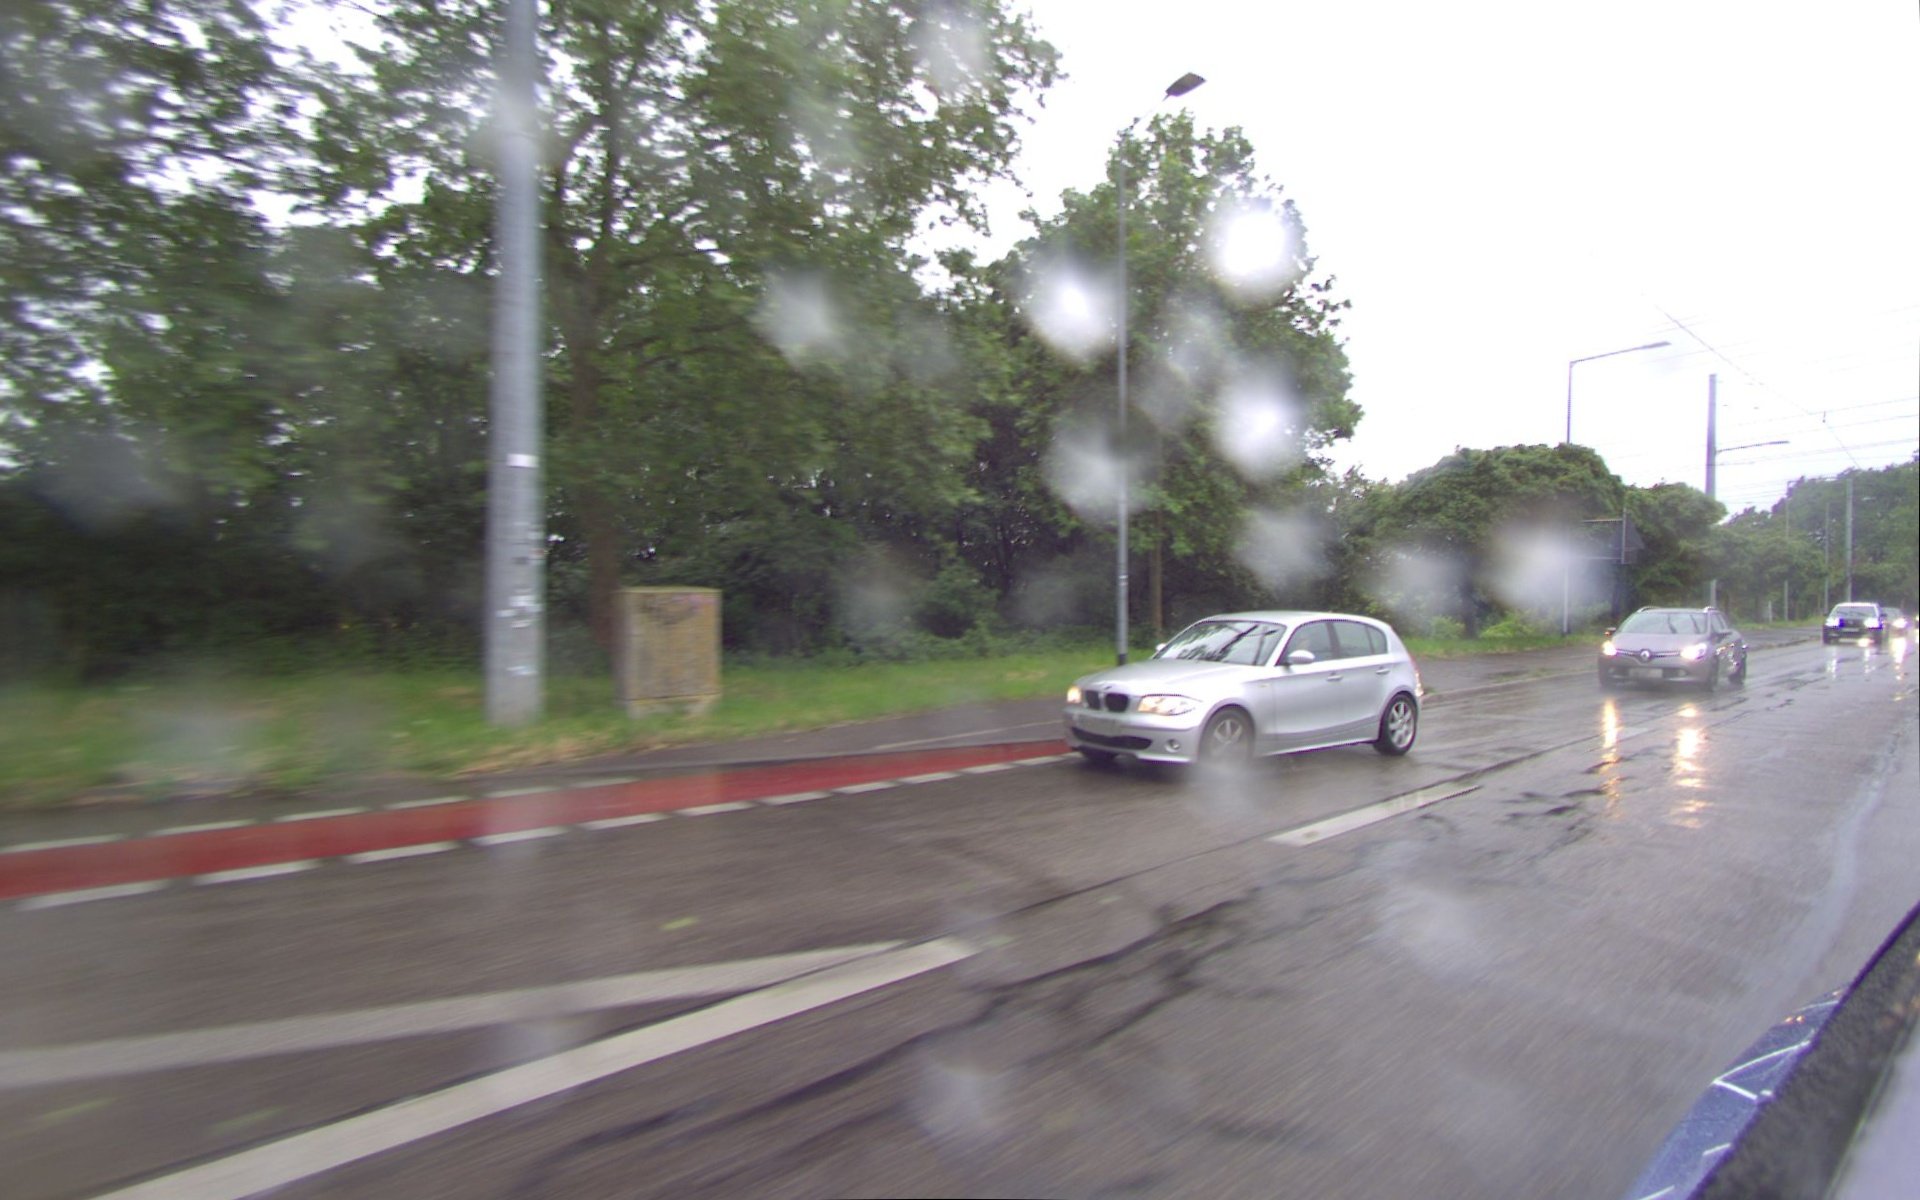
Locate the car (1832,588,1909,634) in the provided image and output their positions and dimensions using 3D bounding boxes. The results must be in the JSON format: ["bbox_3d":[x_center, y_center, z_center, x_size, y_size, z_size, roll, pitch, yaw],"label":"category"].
[{"bbox_3d":[36.669,0.455,40.712,4.680,1.724,1.795,1,-1,-42],"label":"car"}]

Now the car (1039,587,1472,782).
[{"bbox_3d":[3.030,0.691,9.899,4.518,1.522,1.631,1,-1,-36],"label":"car"}]

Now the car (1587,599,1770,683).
[{"bbox_3d":[13.360,0.699,18.736,4.203,1.374,1.890,1,-1,-42],"label":"car"}]

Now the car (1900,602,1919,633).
[{"bbox_3d":[47.152,0.875,49.202,3.930,1.445,1.782,1,0,-42],"label":"car"}]
